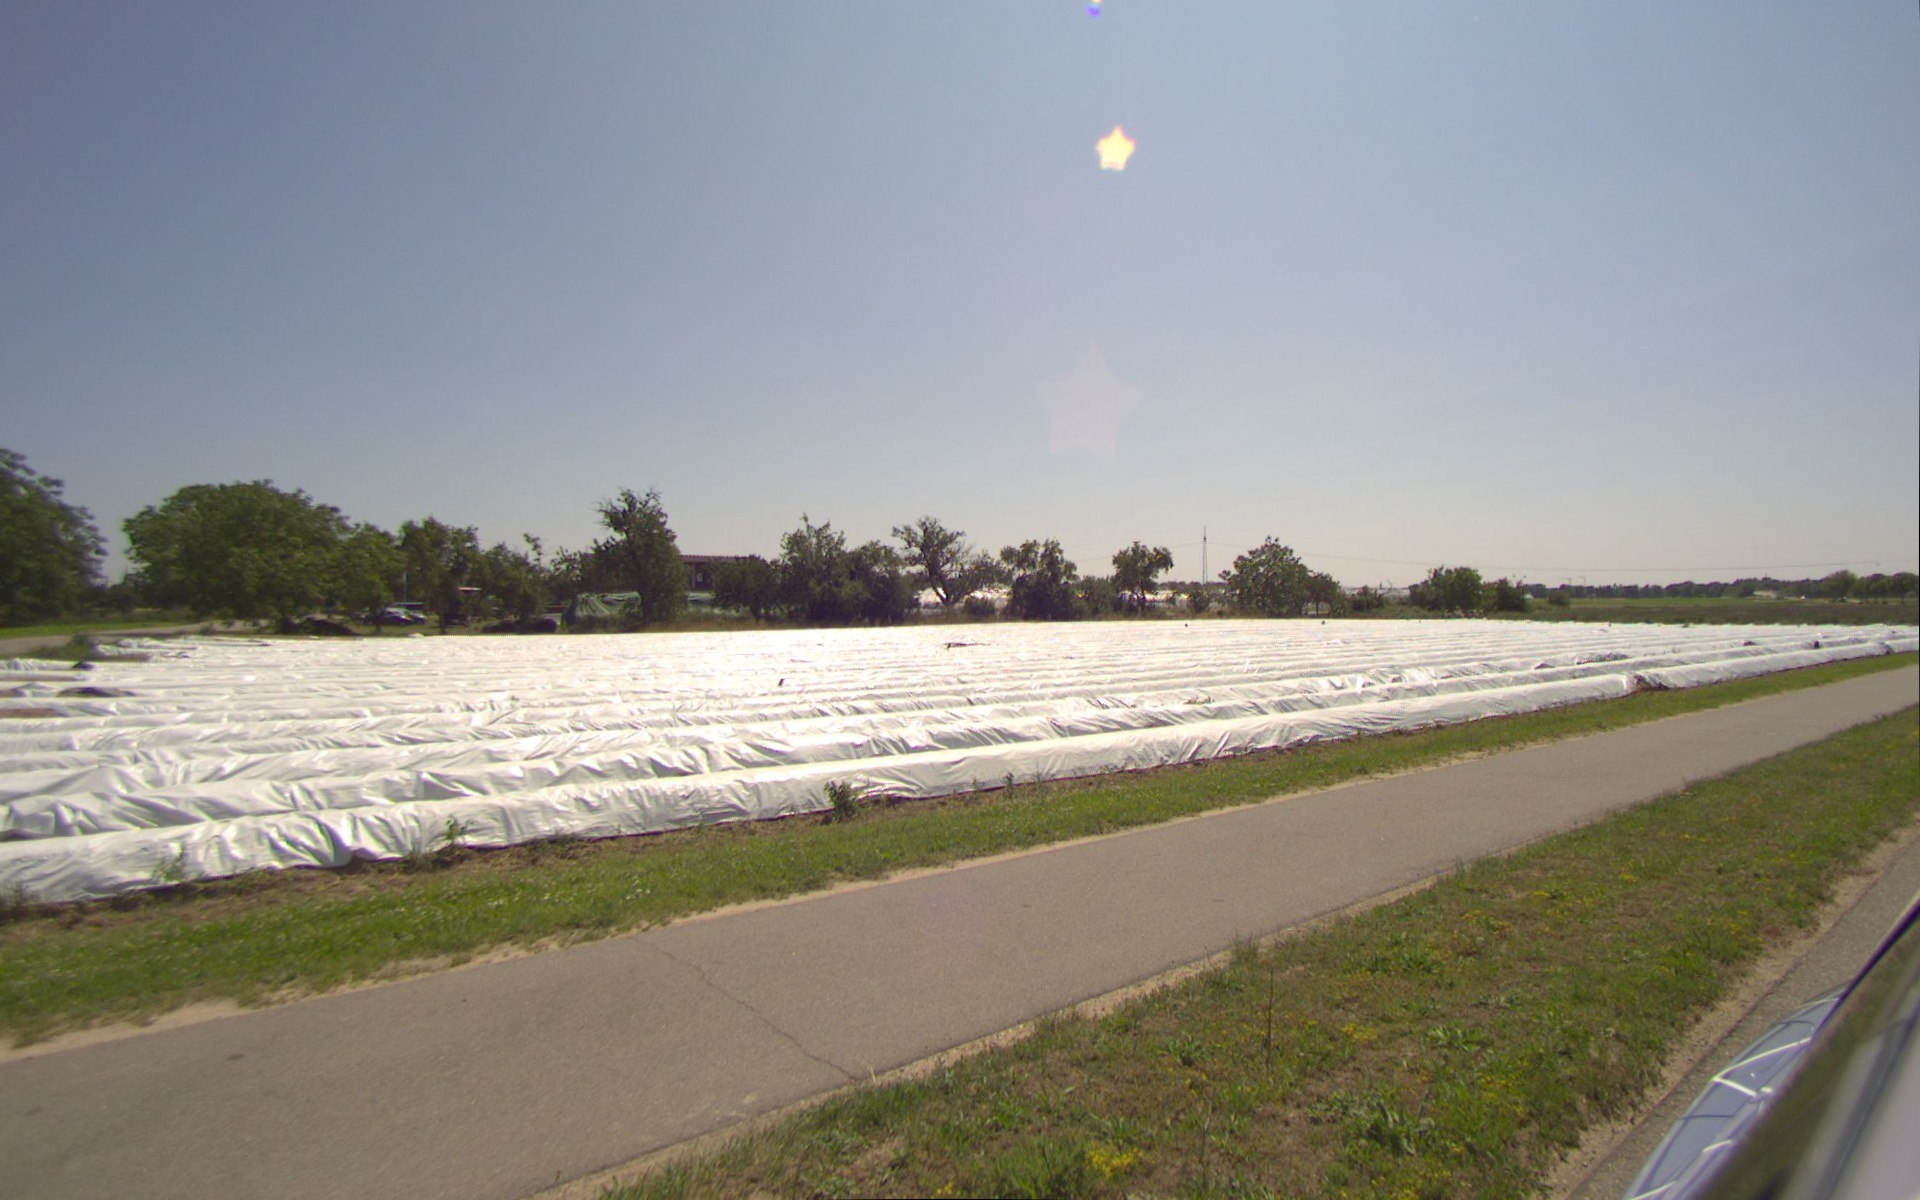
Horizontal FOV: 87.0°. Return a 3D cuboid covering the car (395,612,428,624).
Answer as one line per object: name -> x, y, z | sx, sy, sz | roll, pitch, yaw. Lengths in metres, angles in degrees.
car -> -53.710, 1.760, 99.154 | 2.730, 1.213, 1.297 | 0, 0, -33

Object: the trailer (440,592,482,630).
trailer -> -58.096, 1.276, 117.668 | 3.099, 4.275, 7.438 | -1, -1, -36

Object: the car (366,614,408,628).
car -> -50.906, 1.867, 89.949 | 3.216, 1.213, 1.297 | 0, 0, -33

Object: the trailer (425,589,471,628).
trailer -> -46.556, 0.738, 92.155 | 3.192, 3.335, 7.453 | -1, 0, -23

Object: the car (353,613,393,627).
car -> -54.682, 1.822, 94.251 | 3.216, 1.213, 1.297 | 0, 0, -33
